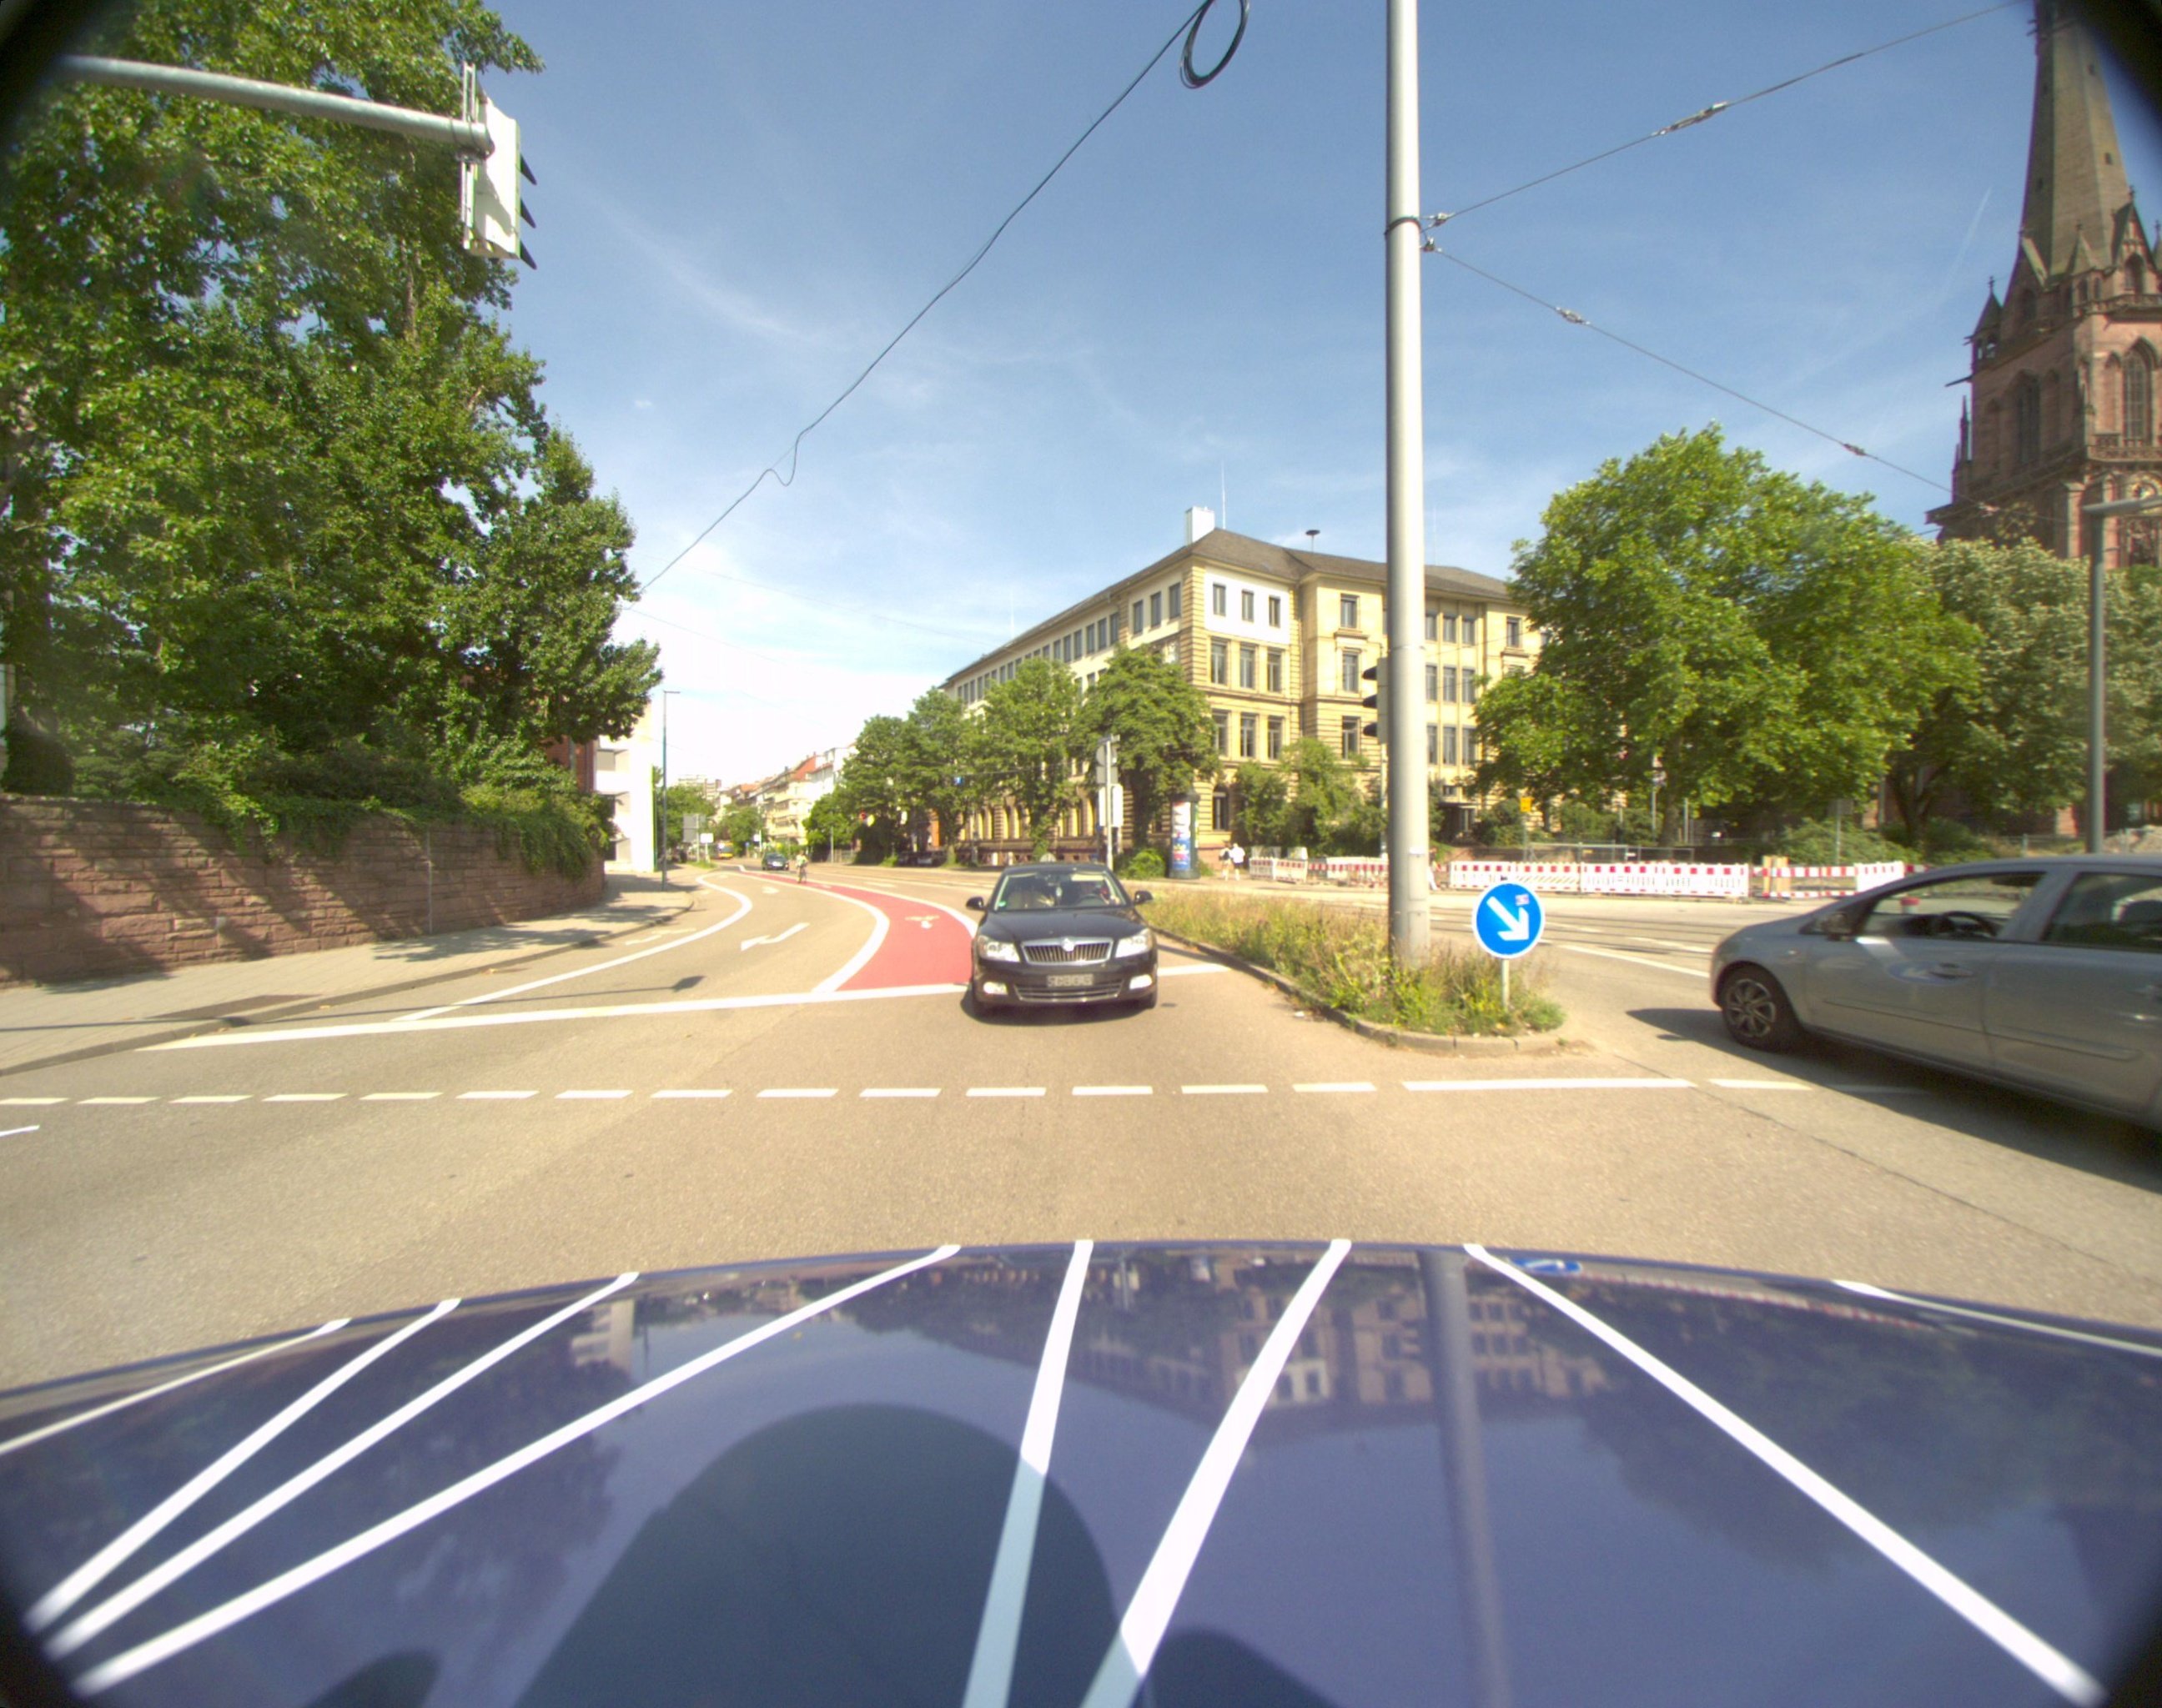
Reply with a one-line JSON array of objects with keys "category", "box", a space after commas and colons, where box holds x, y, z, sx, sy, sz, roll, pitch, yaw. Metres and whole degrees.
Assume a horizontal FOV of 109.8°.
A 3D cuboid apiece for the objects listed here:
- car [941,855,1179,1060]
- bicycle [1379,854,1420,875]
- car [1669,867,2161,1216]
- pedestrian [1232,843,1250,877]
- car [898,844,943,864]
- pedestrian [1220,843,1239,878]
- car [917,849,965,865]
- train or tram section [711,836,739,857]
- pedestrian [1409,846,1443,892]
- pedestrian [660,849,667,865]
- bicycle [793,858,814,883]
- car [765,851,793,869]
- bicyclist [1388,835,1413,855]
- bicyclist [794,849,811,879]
[{"category": "car", "box": [-0.247, 0.815, 8.383, 1.864, 1.510, 4.825, 0, 1, -2]}, {"category": "bicycle", "box": [15.013, 0.499, 35.851, 0.703, 0.941, 1.661, -1, 1, -36]}, {"category": "car", "box": [5.560, 0.841, 4.126, 1.798, 1.404, 4.001, 1, 1, 4]}, {"category": "pedestrian", "box": [8.140, 0.303, 38.648, 0.743, 1.740, 0.586, 1, 1, 36]}, {"category": "car", "box": [-16.201, -0.045, 76.538, 4.007, 2.002, 1.995, 0, 1, -32]}, {"category": "pedestrian", "box": [7.482, 0.315, 38.373, 0.743, 1.740, 0.586, 1, 2, 39]}, {"category": "car", "box": [-13.273, 0.300, 71.879, 4.007, 1.455, 1.995, 0, 1, -32]}, {"category": "train or tram section", "box": [-67.106, -1.343, 143.096, 3.221, 3.838, 14.550, -1, 1, -31]}, {"category": "pedestrian", "box": [12.514, 0.530, 27.596, 0.939, 1.646, 0.845, 0, 1, 12]}, {"category": "pedestrian", "box": [-39.832, 0.259, 72.534, 0.550, 1.559, 0.929, -1, 1, -32]}, {"category": "bicycle", "box": [-14.438, 0.833, 39.440, 0.687, 1.215, 2.181, -1, 1, -29]}, {"category": "car", "box": [-25.665, 0.462, 64.453, 1.805, 1.368, 4.267, -2, 1, -27]}, {"category": "bicyclist", "box": [15.033, -0.424, 35.791, 0.684, 0.922, 0.867, -1, 1, -35]}, {"category": "bicyclist", "box": [-14.453, 0.506, 39.411, 0.589, 1.539, 0.929, -3, 2, -28]}]
